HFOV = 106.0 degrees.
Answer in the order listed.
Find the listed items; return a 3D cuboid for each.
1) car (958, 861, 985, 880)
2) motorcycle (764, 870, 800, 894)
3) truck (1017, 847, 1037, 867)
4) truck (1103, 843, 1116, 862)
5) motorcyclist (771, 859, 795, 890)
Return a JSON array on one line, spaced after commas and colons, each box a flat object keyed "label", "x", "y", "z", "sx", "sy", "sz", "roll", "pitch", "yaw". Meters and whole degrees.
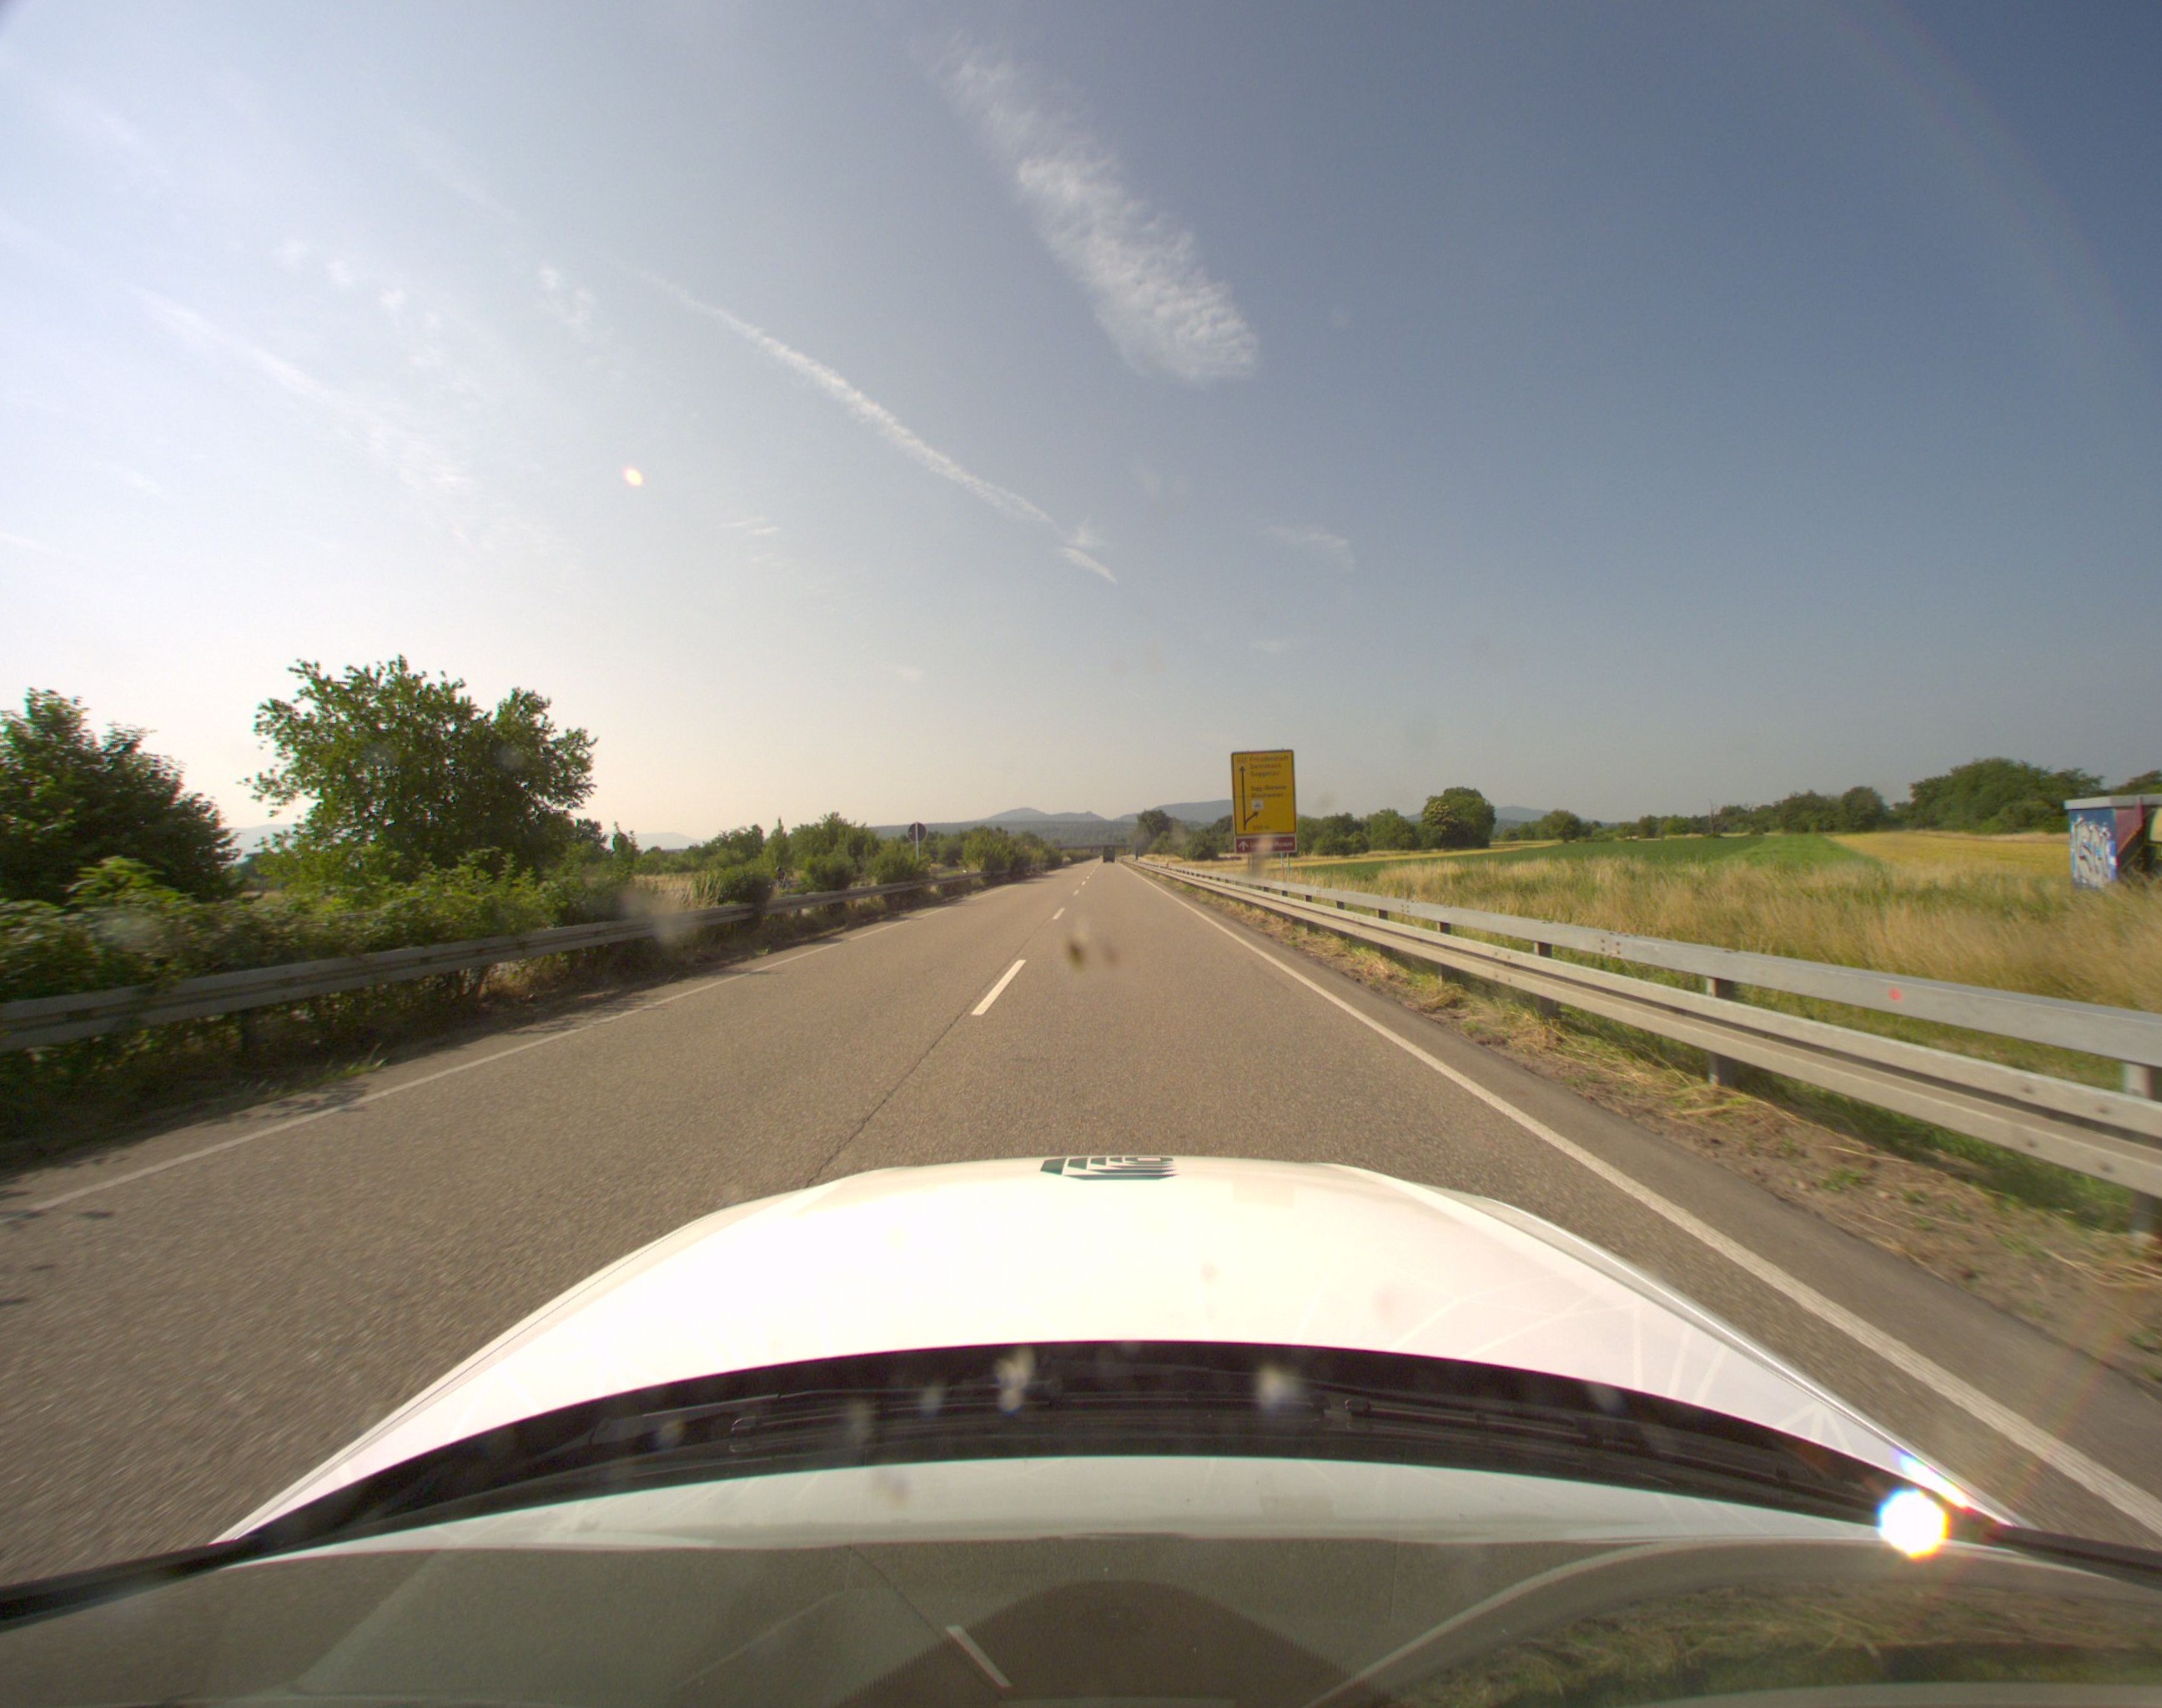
[{"label": "car", "x": -9.049, "y": 1.315, "z": 67.631, "sx": 1.552, "sy": 1.431, "sz": 4.038, "roll": -2, "pitch": 0, "yaw": 2}, {"label": "motorcycle", "x": -13.623, "y": 1.276, "z": 37.166, "sx": 0.701, "sy": 0.964, "sz": 2.285, "roll": -4, "pitch": 0, "yaw": 2}, {"label": "truck", "x": -9.814, "y": 0.547, "z": 149.004, "sx": 2.593, "sy": 3.589, "sz": 10.389, "roll": -2, "pitch": 0, "yaw": 2}, {"label": "truck", "x": 6.099, "y": -0.351, "z": 173.355, "sx": 2.711, "sy": 3.965, "sz": 10.422, "roll": 0, "pitch": 1, "yaw": 2}, {"label": "motorcyclist", "x": -13.636, "y": 0.934, "z": 37.255, "sx": 0.701, "sy": 1.347, "sz": 0.808, "roll": -4, "pitch": 0, "yaw": 2}]
